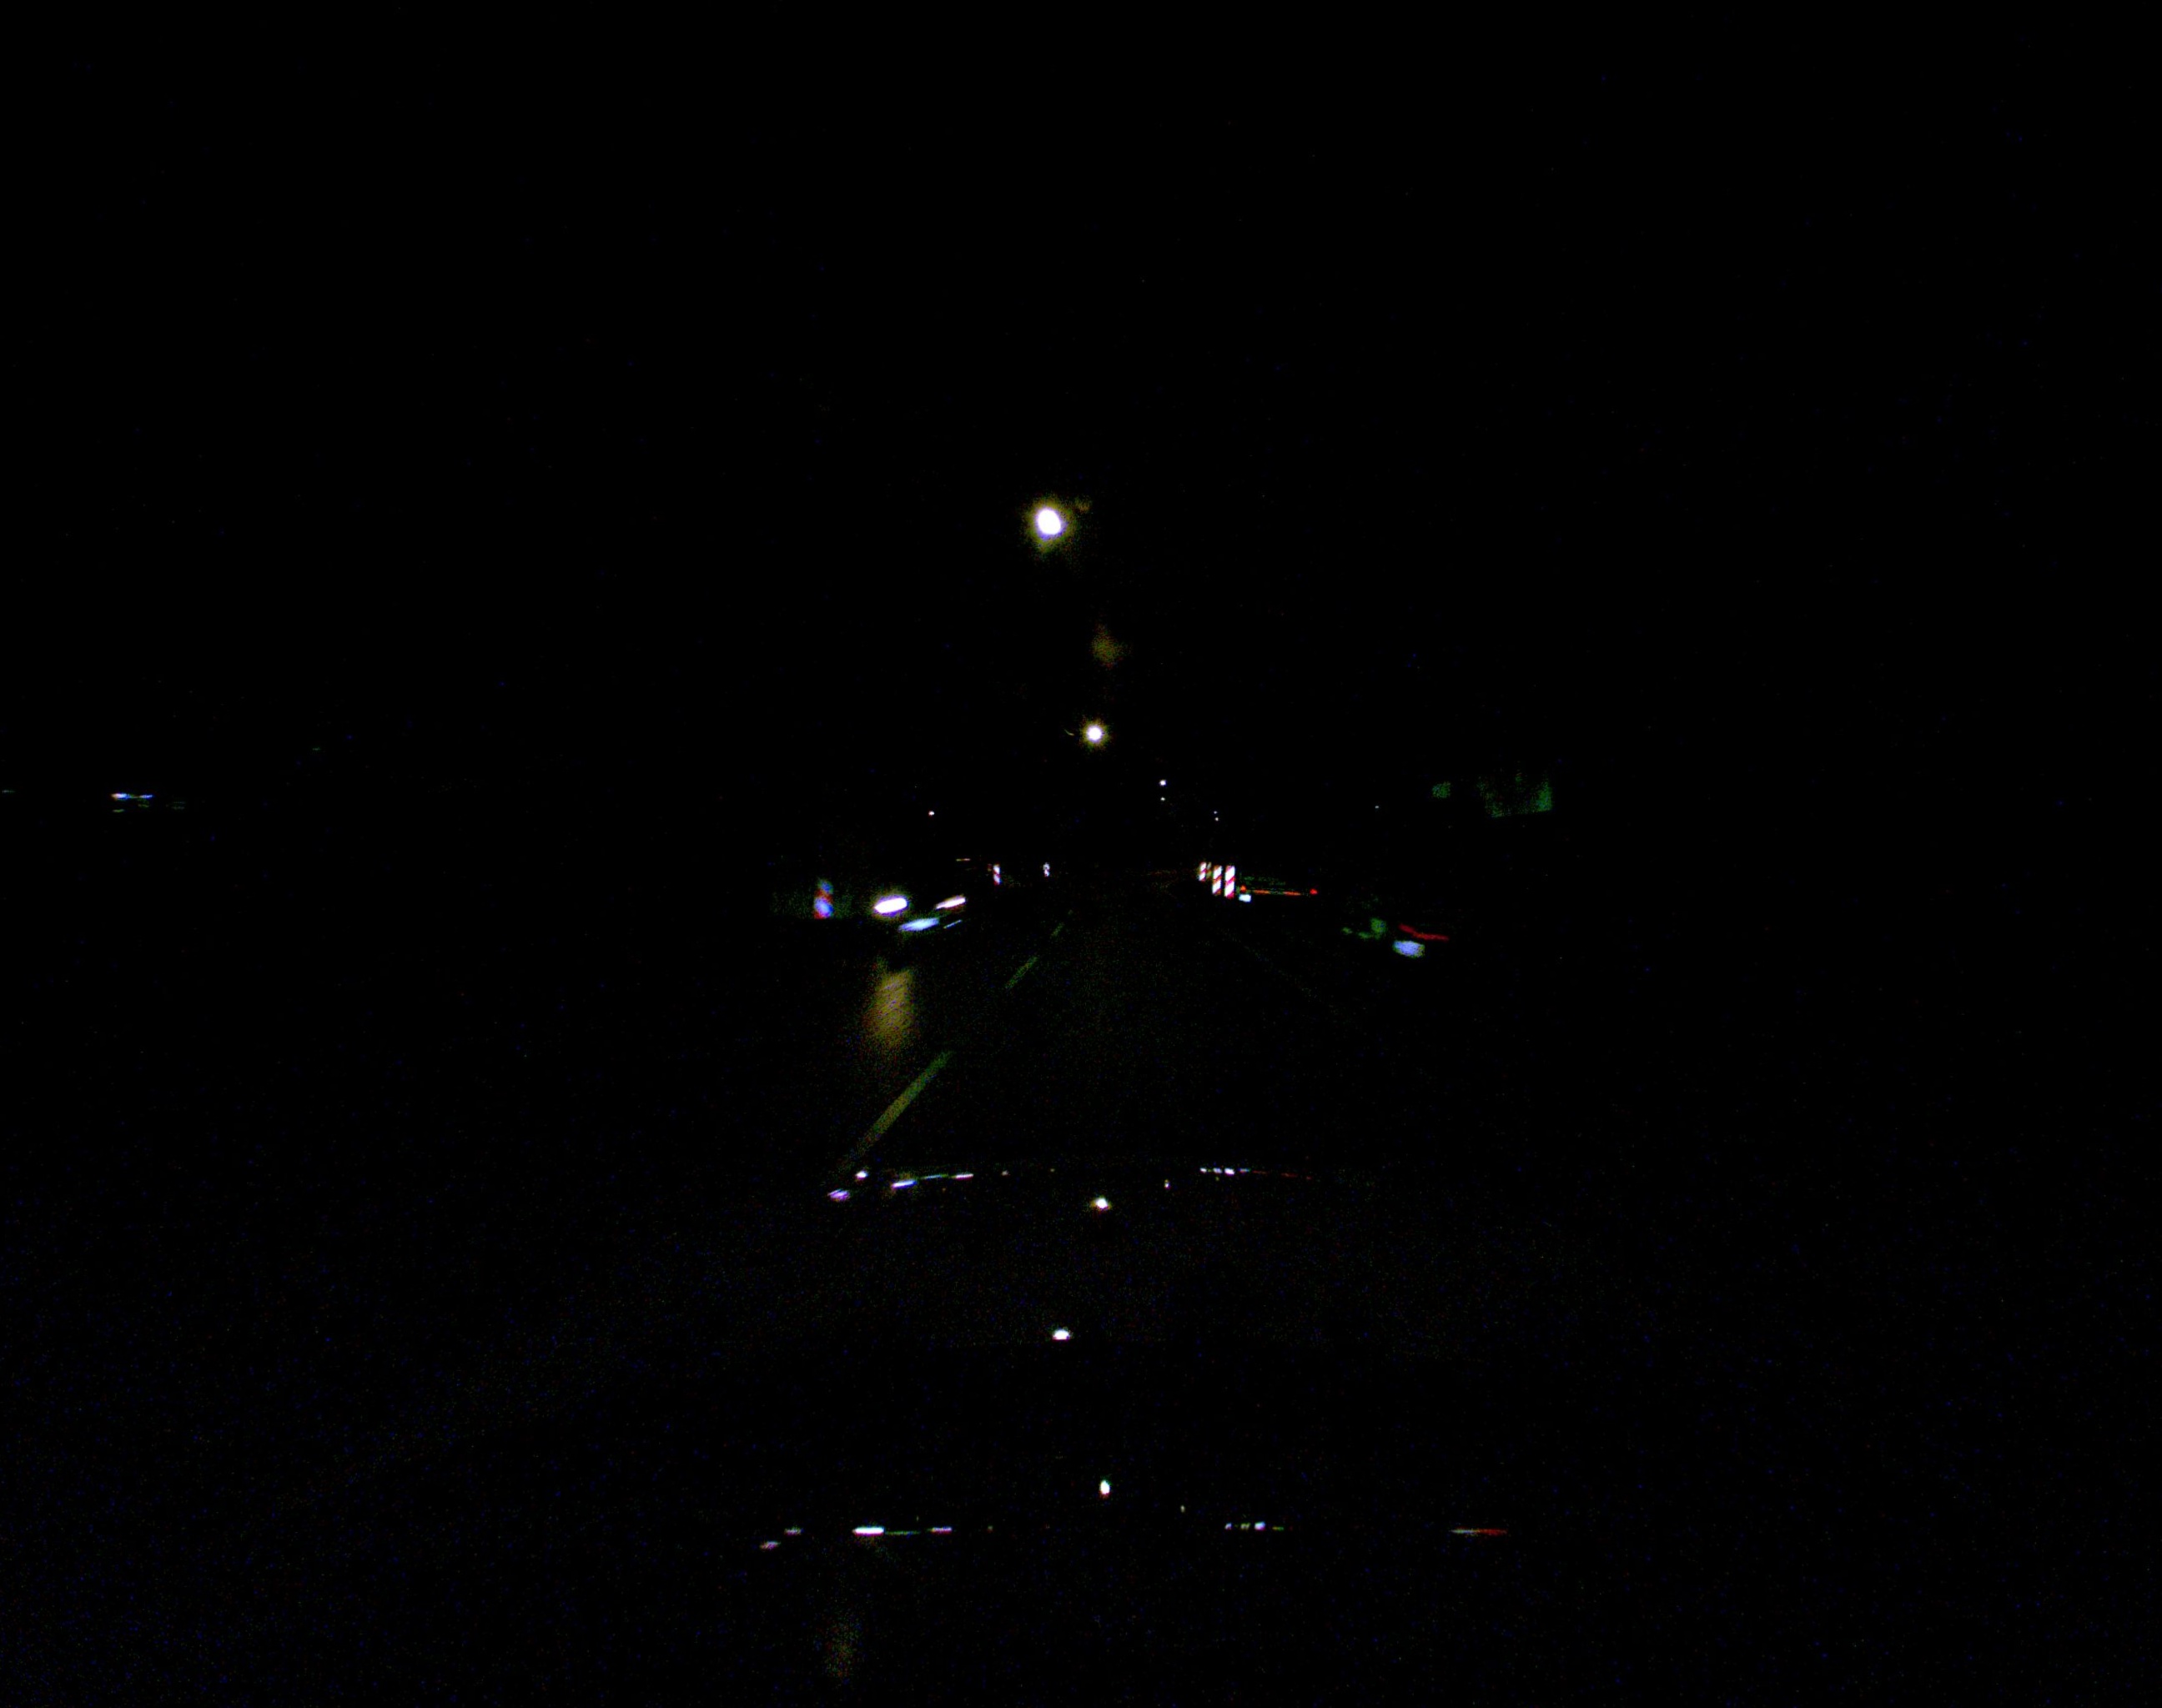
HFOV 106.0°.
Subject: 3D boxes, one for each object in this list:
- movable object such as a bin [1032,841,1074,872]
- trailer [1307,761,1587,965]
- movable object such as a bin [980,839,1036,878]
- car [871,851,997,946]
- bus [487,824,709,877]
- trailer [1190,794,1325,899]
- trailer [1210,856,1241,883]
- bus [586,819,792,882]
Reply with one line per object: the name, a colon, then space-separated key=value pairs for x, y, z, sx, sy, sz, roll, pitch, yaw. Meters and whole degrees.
movable object such as a bin: x=-2.103 y=0.191 z=63.372 sx=1.979 sy=2.376 sz=4.720 roll=0 pitch=0 yaw=14
trailer: x=5.901 y=0.157 z=14.012 sx=2.606 sy=2.846 sz=4.706 roll=2 pitch=-1 yaw=-1
movable object such as a bin: x=-4.544 y=0.245 z=51.404 sx=1.979 sy=2.376 sz=4.720 roll=0 pitch=1 yaw=14
car: x=-2.680 y=0.763 z=15.479 sx=1.690 sy=1.576 sz=2.959 roll=-2 pitch=0 yaw=2
bus: x=-30.484 y=-0.230 z=52.464 sx=2.915 sy=2.982 sz=12.352 roll=0 pitch=0 yaw=31
trailer: x=5.917 y=-0.220 z=28.209 sx=3.471 sy=3.219 sz=4.862 roll=2 pitch=-1 yaw=-1
trailer: x=7.939 y=0.826 z=45.051 sx=1.237 sy=1.434 sz=3.730 roll=1 pitch=0 yaw=3
bus: x=-22.567 y=-0.219 z=48.346 sx=2.988 sy=3.204 sz=12.732 roll=0 pitch=0 yaw=18
